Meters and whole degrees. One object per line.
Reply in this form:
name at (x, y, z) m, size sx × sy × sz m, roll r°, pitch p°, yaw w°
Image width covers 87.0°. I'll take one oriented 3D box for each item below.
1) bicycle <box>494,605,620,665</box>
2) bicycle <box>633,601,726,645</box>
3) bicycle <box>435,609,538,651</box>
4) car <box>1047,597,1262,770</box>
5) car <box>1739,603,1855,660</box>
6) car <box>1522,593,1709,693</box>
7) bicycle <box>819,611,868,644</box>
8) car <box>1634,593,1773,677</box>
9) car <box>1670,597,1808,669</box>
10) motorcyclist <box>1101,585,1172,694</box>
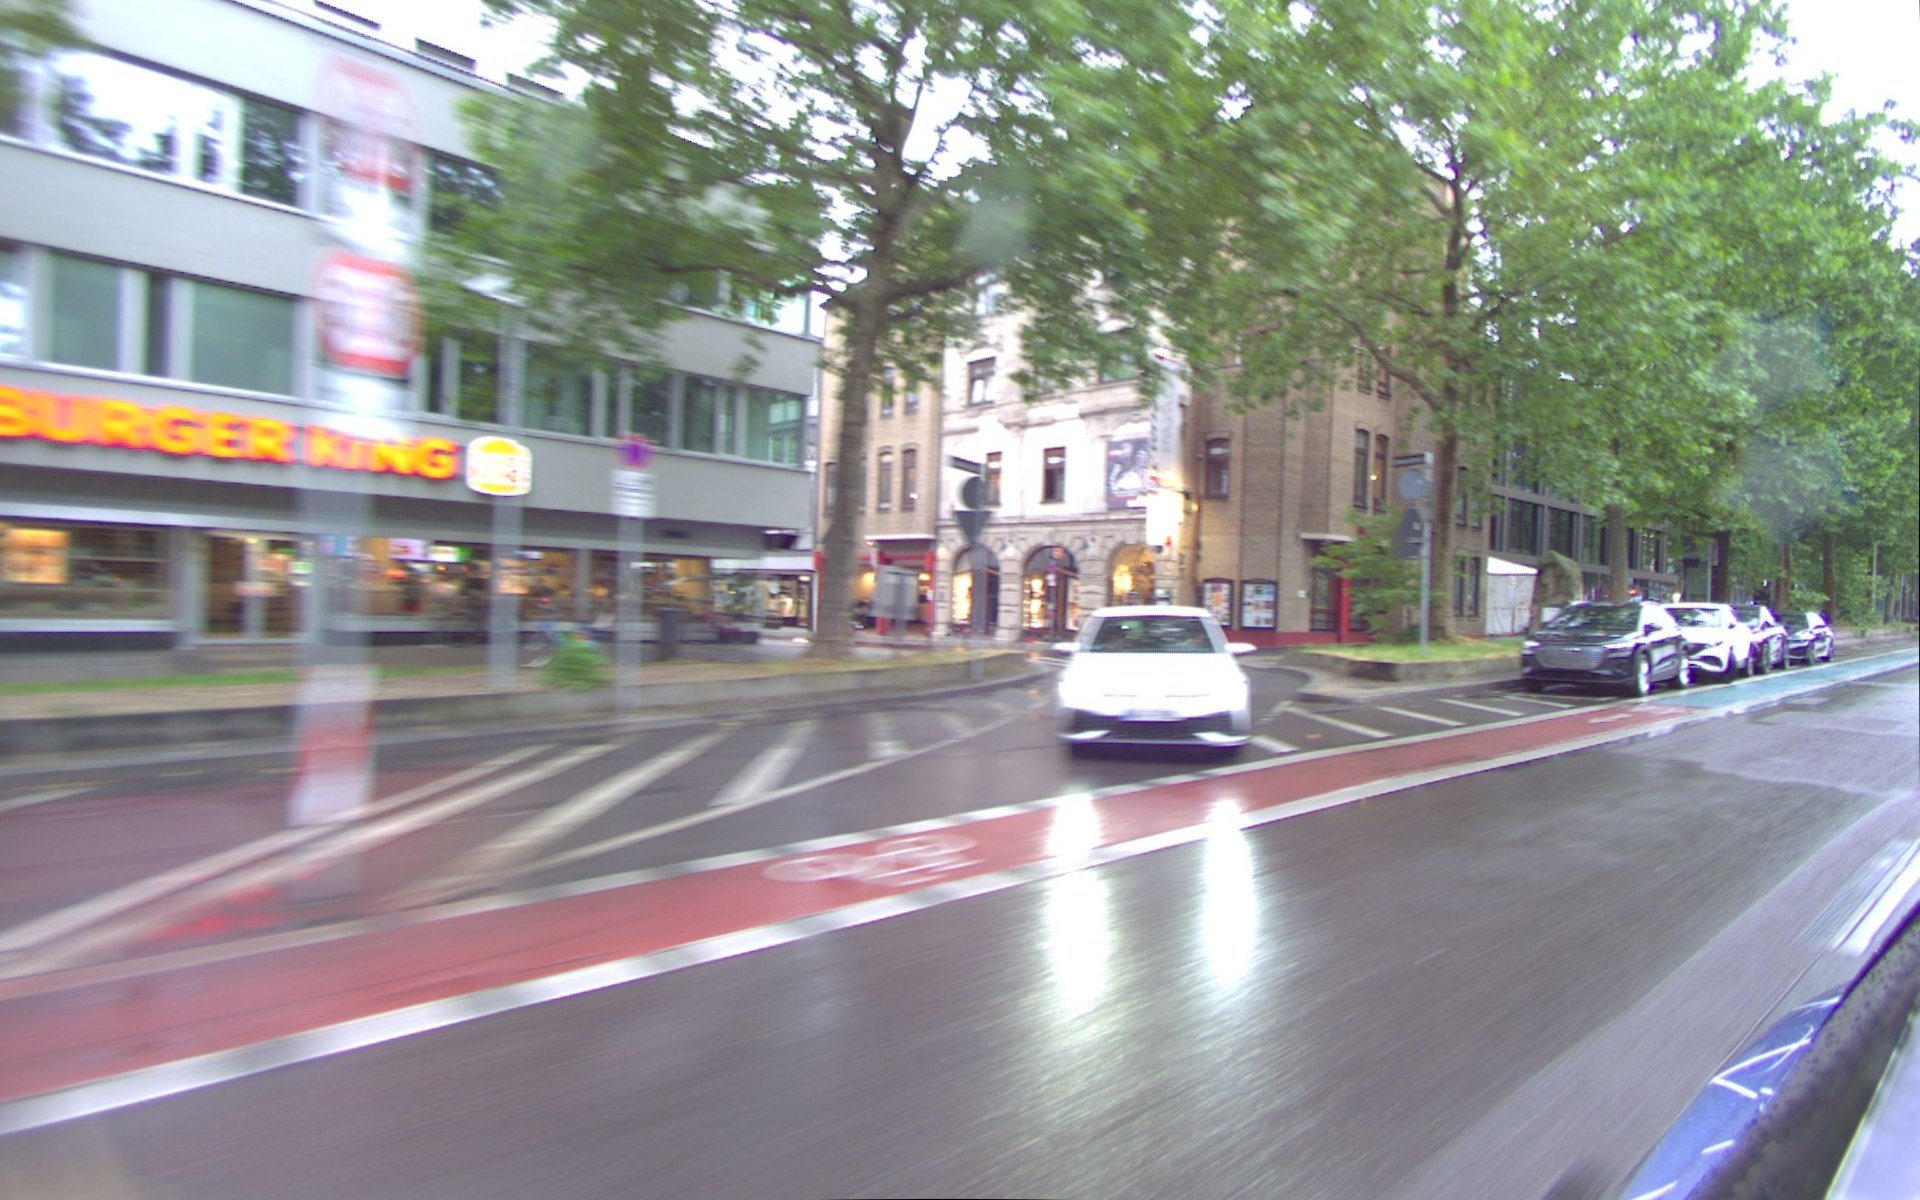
bicycle at (-6.868, 0.581, 17.305) m, size 1.880 × 0.934 × 0.642 m, roll 0°, pitch 3°, yaw -42°
bicycle at (-6.752, 0.563, 24.397) m, size 2.041 × 0.905 × 0.584 m, roll 3°, pitch 8°, yaw -44°
bicycle at (-10.048, 0.622, 21.514) m, size 0.640 × 0.829 × 1.885 m, roll 1°, pitch 1°, yaw 41°
car at (2.099, 0.712, 11.086) m, size 1.838 × 1.463 × 4.495 m, roll 0°, pitch 0°, yaw 11°
car at (23.497, 0.827, 28.358) m, size 4.504 × 1.451 × 1.746 m, roll 0°, pitch 0°, yaw -40°
car at (12.039, 0.700, 18.481) m, size 4.348 × 1.623 × 1.795 m, roll 0°, pitch 0°, yaw -42°
bicycle at (-3.563, 0.825, 30.851) m, size 0.613 × 0.949 × 1.972 m, roll 1°, pitch 0°, yaw -36°
car at (15.832, 0.667, 21.469) m, size 4.338 × 1.605 × 1.752 m, roll 0°, pitch 0°, yaw -45°
car at (19.276, 0.748, 24.971) m, size 4.483 × 1.609 × 1.996 m, roll 0°, pitch 0°, yaw -43°
motorcyclist at (2.811, 0.603, 16.098) m, size 0.842 × 1.665 × 0.861 m, roll 0°, pitch 0°, yaw 32°
